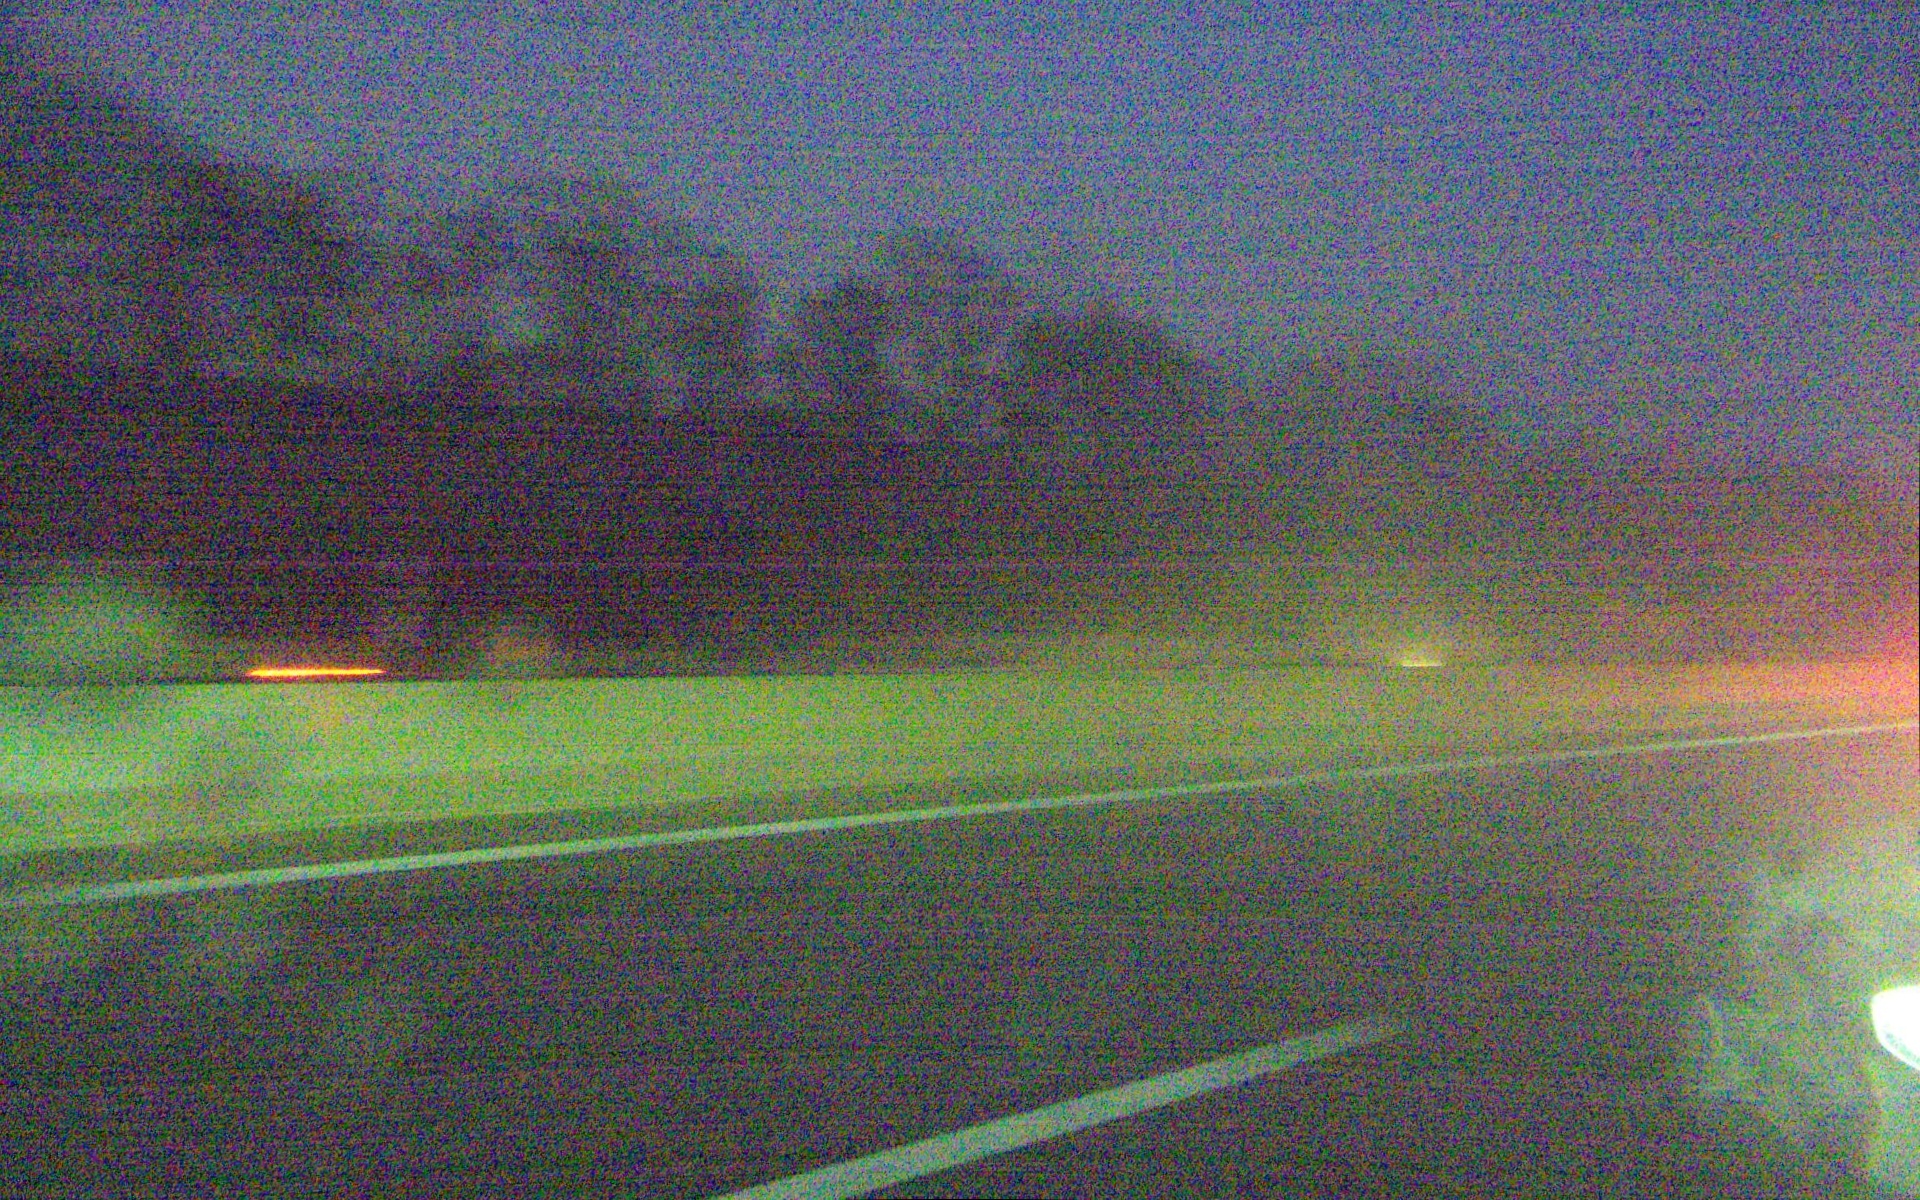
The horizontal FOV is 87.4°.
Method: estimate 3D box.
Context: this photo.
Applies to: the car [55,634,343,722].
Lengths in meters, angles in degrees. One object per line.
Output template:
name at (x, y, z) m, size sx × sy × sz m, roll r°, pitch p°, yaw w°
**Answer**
car at (-15.036, 1.504, 20.225) m, size 4.356 × 1.506 × 1.984 m, roll 2°, pitch 0°, yaw -30°
